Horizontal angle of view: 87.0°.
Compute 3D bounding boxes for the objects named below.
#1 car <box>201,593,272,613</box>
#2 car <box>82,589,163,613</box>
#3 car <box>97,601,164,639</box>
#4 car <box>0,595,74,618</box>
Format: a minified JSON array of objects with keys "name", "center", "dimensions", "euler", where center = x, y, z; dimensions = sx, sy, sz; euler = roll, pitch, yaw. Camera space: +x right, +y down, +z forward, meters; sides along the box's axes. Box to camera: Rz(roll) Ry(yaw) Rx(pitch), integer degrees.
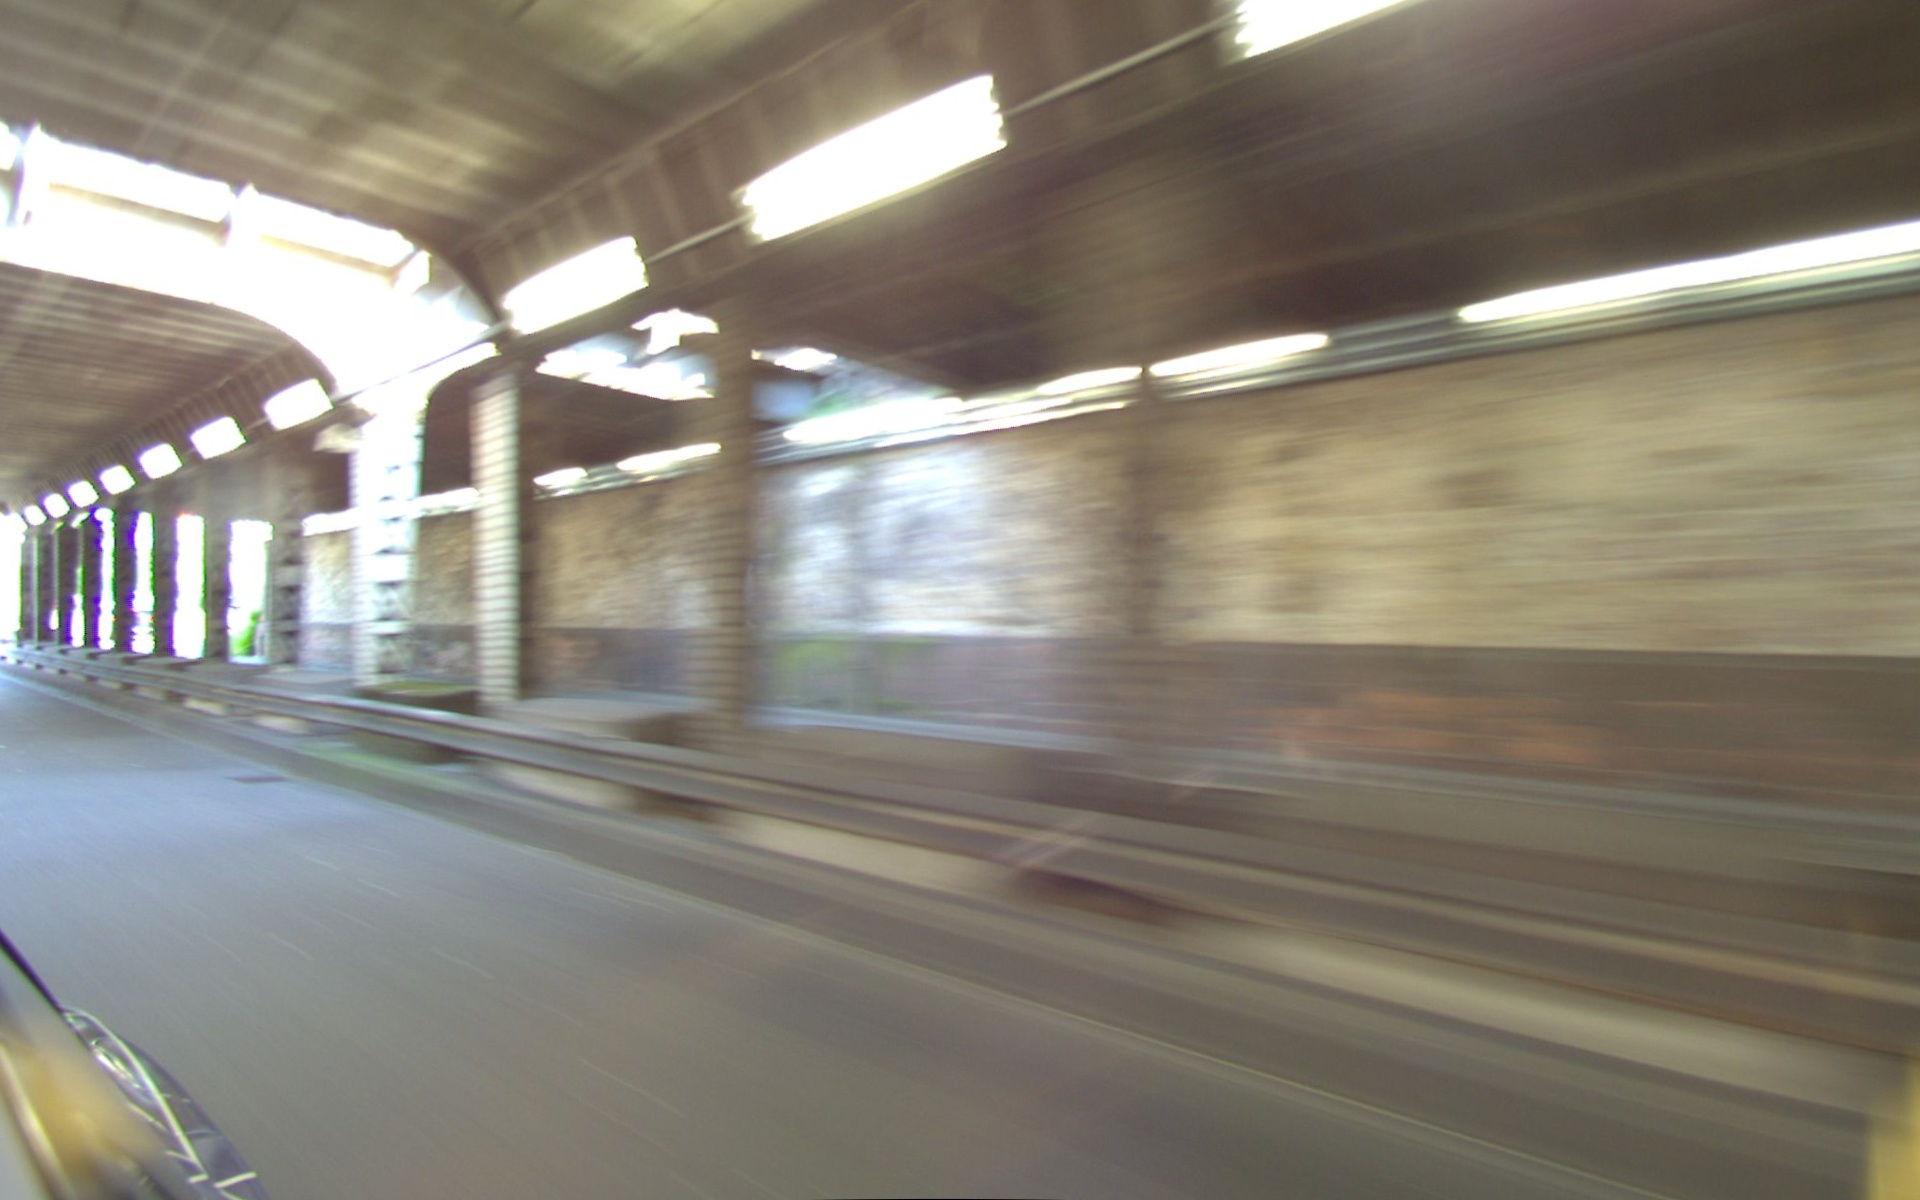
[{"name":"car","center":[-53.459,0.178,74.835],"dimensions":[1.896,1.438,3.908],"euler":[1,0,22]},{"name":"car","center":[-58.682,0.046,71.001],"dimensions":[1.900,1.648,4.108],"euler":[0,0,10]},{"name":"car","center":[-36.448,0.836,44.577],"dimensions":[1.924,1.529,4.398],"euler":[1,0,-35]},{"name":"car","center":[-67.064,0.443,73.323],"dimensions":[4.260,1.611,1.861],"euler":[0,1,-44]}]
